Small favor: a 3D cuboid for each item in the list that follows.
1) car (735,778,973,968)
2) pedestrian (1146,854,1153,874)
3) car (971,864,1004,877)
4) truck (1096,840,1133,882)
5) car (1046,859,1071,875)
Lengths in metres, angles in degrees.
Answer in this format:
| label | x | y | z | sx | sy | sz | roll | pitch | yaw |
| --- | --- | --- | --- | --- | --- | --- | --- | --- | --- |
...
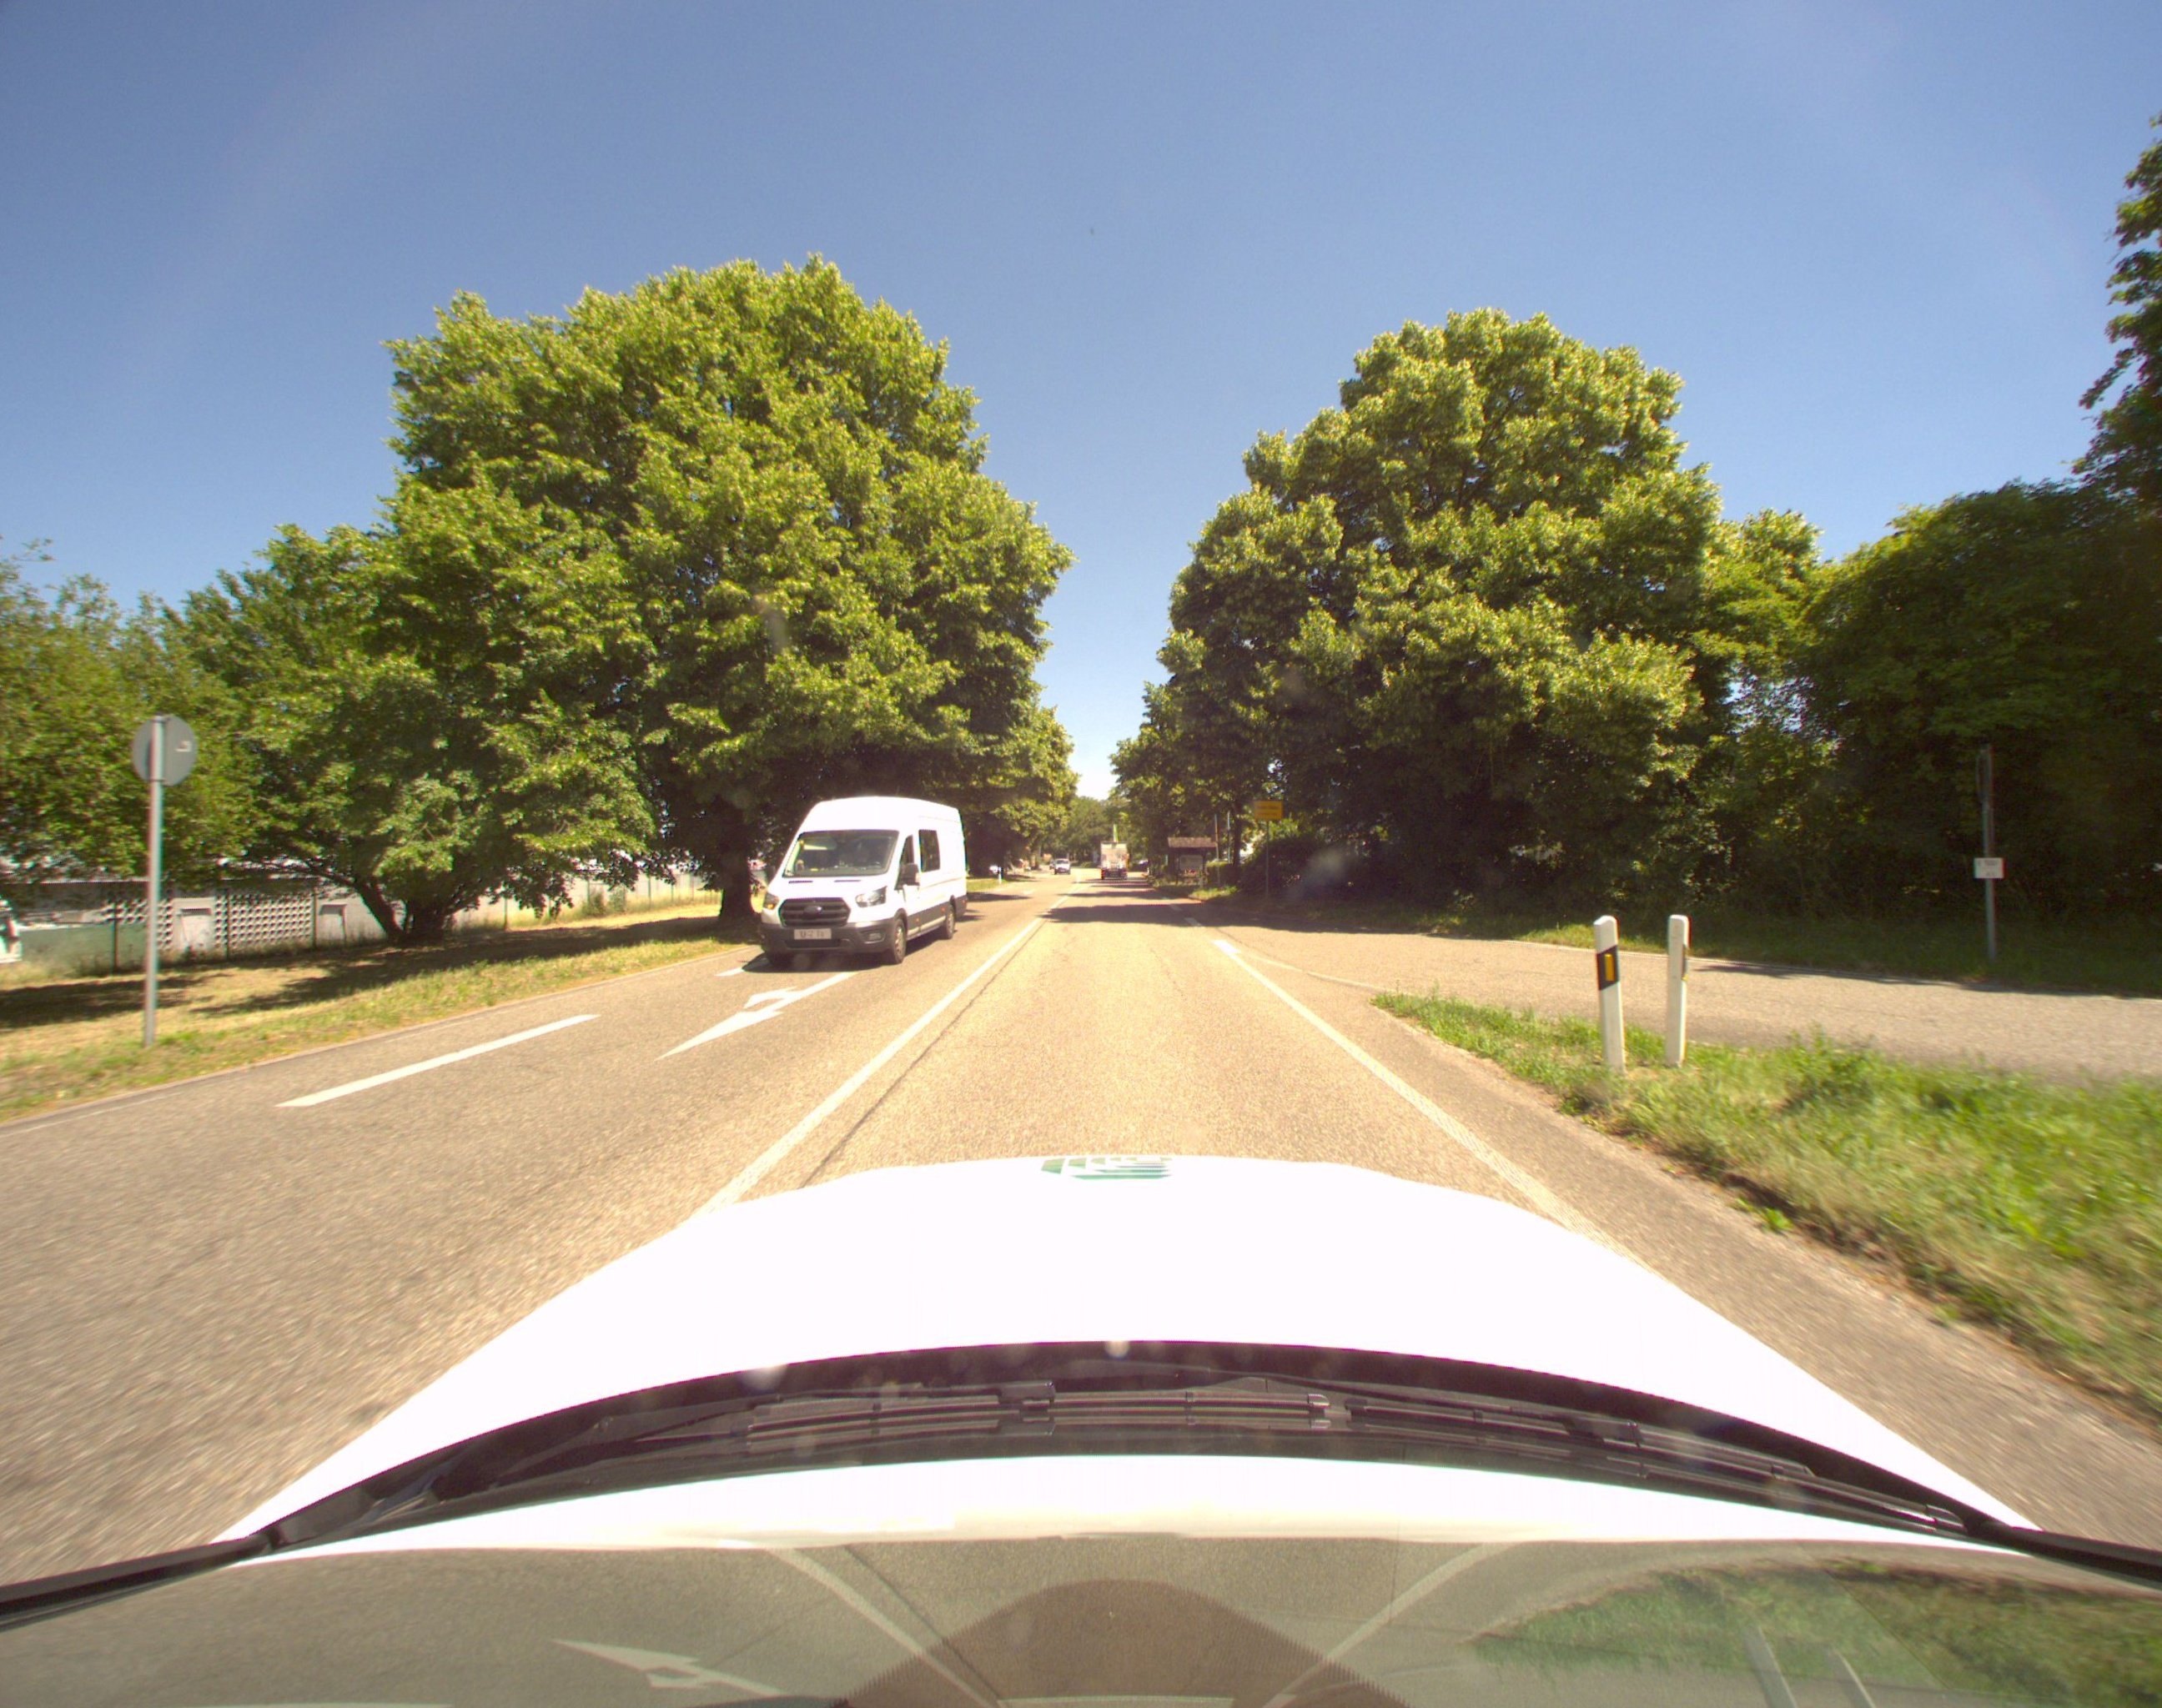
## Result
| label | x | y | z | sx | sy | sz | roll | pitch | yaw |
| --- | --- | --- | --- | --- | --- | --- | --- | --- | --- |
| car | -3.635 | 0.309 | 14.795 | 2.065 | 2.627 | 6.789 | -1 | -1 | 3 |
| pedestrian | 6.201 | 0.935 | 73.397 | 0.545 | 1.776 | 0.578 | -1 | -1 | 6 |
| car | -10.208 | 1.771 | 88.548 | 3.390 | 1.362 | 1.343 | -1 | -1 | 30 |
| truck | 2.685 | 0.508 | 64.129 | 2.521 | 3.135 | 5.370 | -1 | 0 | 6 |
| car | -2.735 | 1.544 | 96.845 | 1.995 | 1.857 | 5.293 | -1 | -1 | -12 |
